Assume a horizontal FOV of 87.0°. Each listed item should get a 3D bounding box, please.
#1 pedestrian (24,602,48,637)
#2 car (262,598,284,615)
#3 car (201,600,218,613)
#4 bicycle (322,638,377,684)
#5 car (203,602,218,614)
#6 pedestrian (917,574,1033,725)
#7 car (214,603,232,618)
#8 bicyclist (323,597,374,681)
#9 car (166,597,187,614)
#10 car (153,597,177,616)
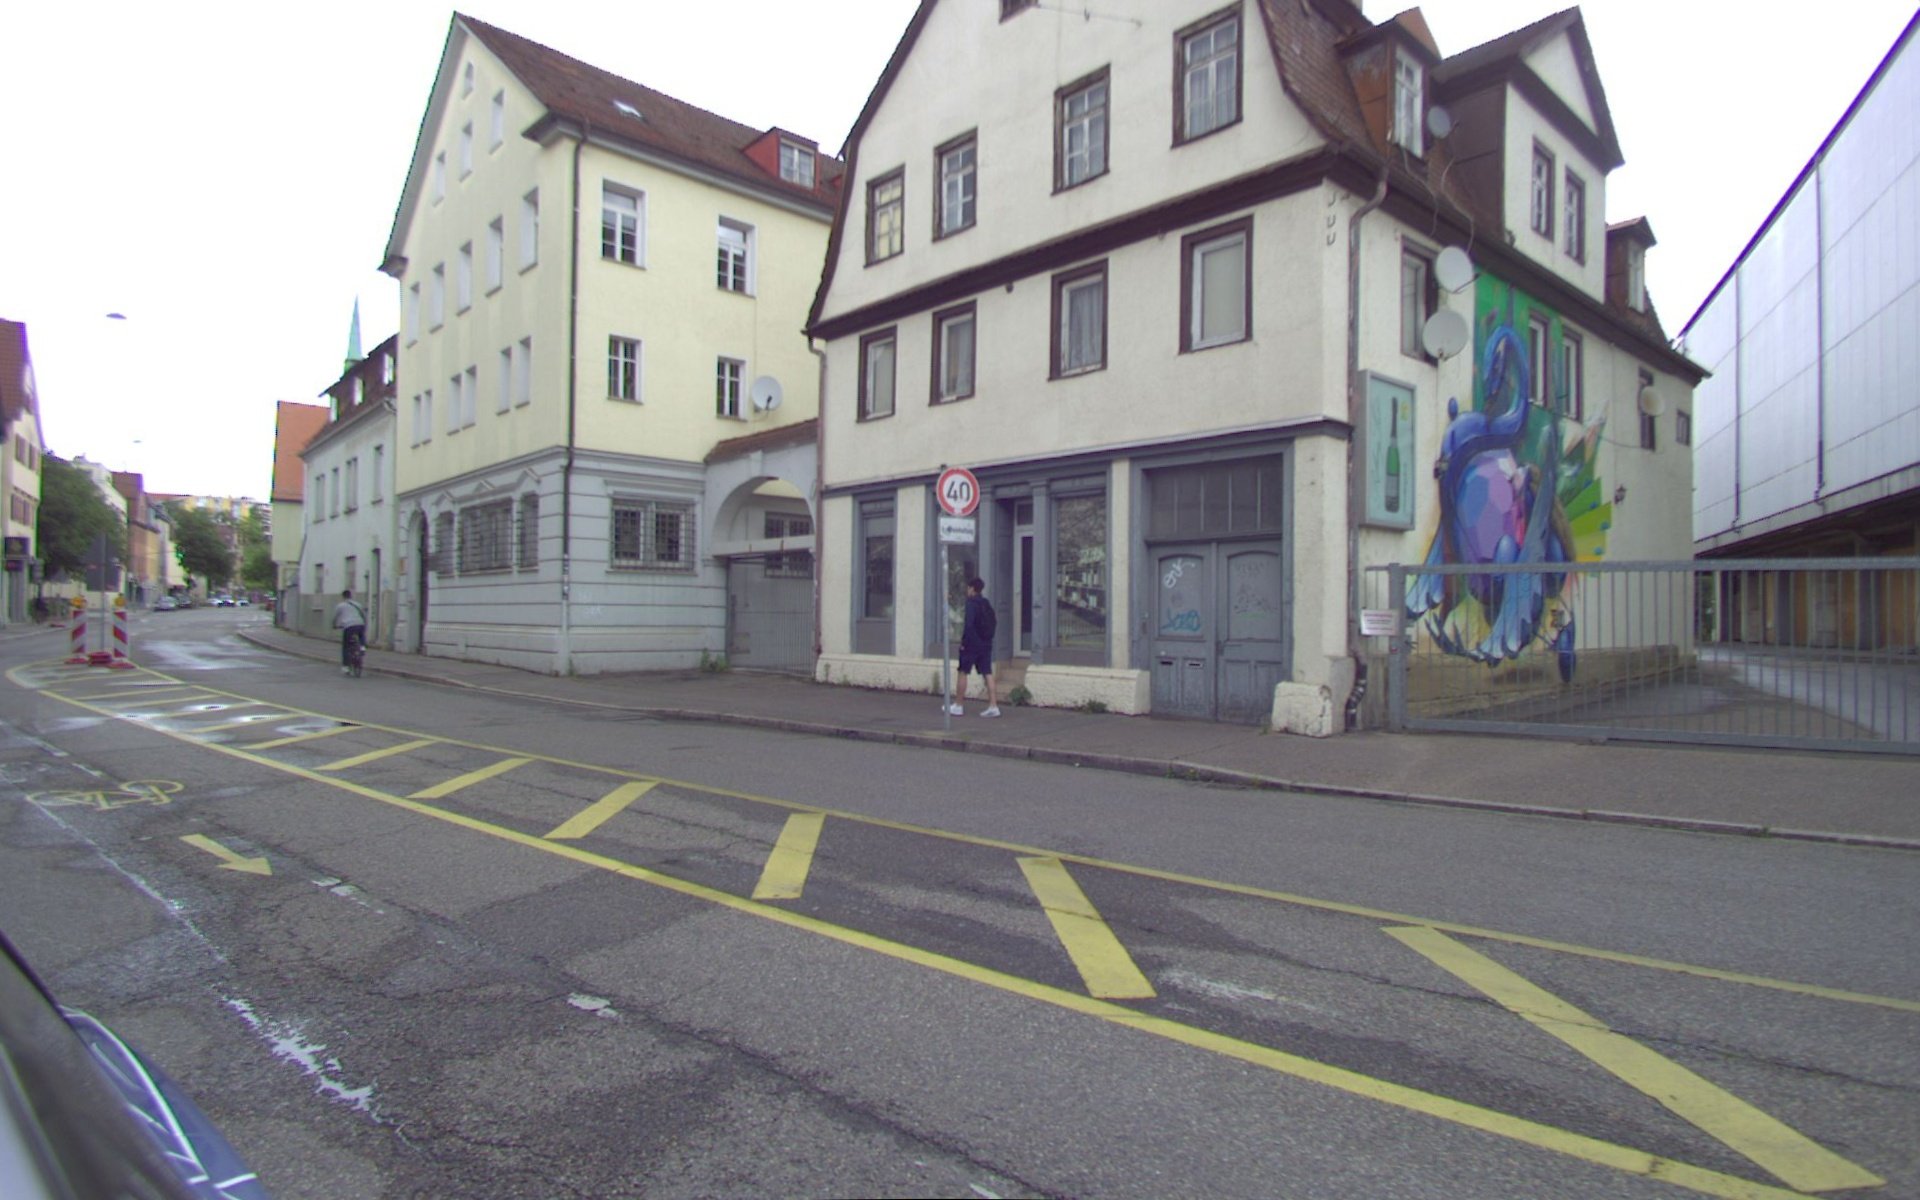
[{"bbox_3d":[-51.150,1.082,56.011,0.897,1.914,0.866,-1,-2,42],"label":"pedestrian"},{"bbox_3d":[-87.685,0.875,129.173,2.027,2.029,4.009,1,-2,-37],"label":"car"},{"bbox_3d":[-116.567,1.001,157.194,1.967,2.029,4.009,1,-2,-37],"label":"car"},{"bbox_3d":[-12.799,1.260,21.196,0.535,0.899,1.881,1,-2,-45],"label":"bicycle"},{"bbox_3d":[-125.345,1.322,169.246,1.967,2.029,4.009,1,-2,-37],"label":"car"},{"bbox_3d":[0.201,0.638,13.561,1.092,1.900,1.042,-3,-2,44],"label":"pedestrian"},{"bbox_3d":[-105.650,1.525,145.135,1.967,2.029,4.009,1,-2,-37],"label":"car"},{"bbox_3d":[-12.790,0.806,21.153,0.811,1.714,0.715,-1,-2,45],"label":"bicyclist"},{"bbox_3d":[-98.838,0.699,127.711,1.967,2.029,4.009,1,-2,-37],"label":"car"},{"bbox_3d":[-86.472,0.714,110.083,1.967,2.029,4.009,1,-2,-37],"label":"car"}]
